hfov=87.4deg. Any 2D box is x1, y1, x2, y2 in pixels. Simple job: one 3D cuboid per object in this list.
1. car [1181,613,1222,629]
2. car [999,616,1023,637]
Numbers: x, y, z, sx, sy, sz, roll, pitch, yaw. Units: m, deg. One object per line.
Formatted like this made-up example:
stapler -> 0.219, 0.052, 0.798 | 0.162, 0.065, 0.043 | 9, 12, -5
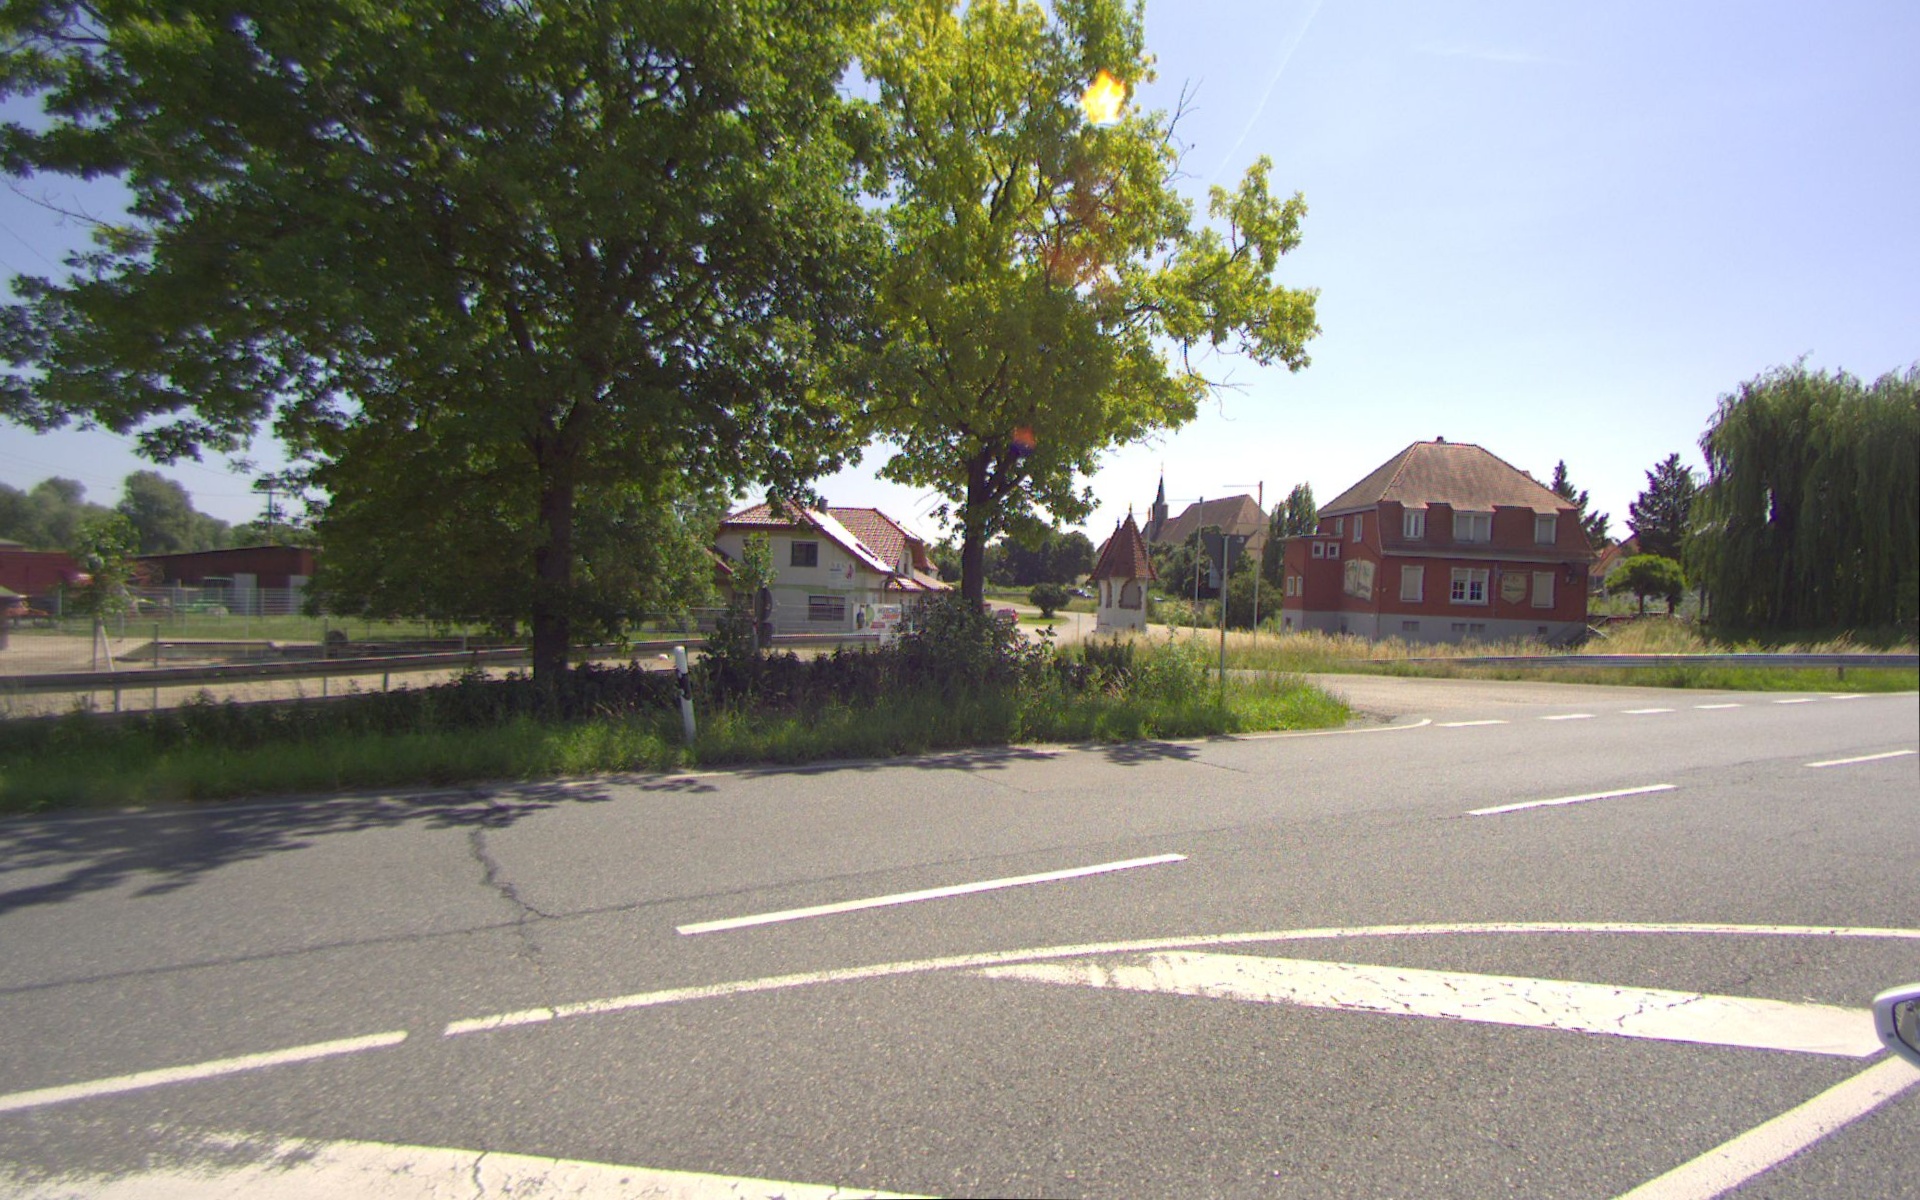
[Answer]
car -> 23.920, 2.070, 99.667 | 3.919, 1.461, 1.590 | 0, 0, 12
car -> 4.562, 2.368, 90.465 | 1.769, 1.750, 3.865 | 0, 1, -3
